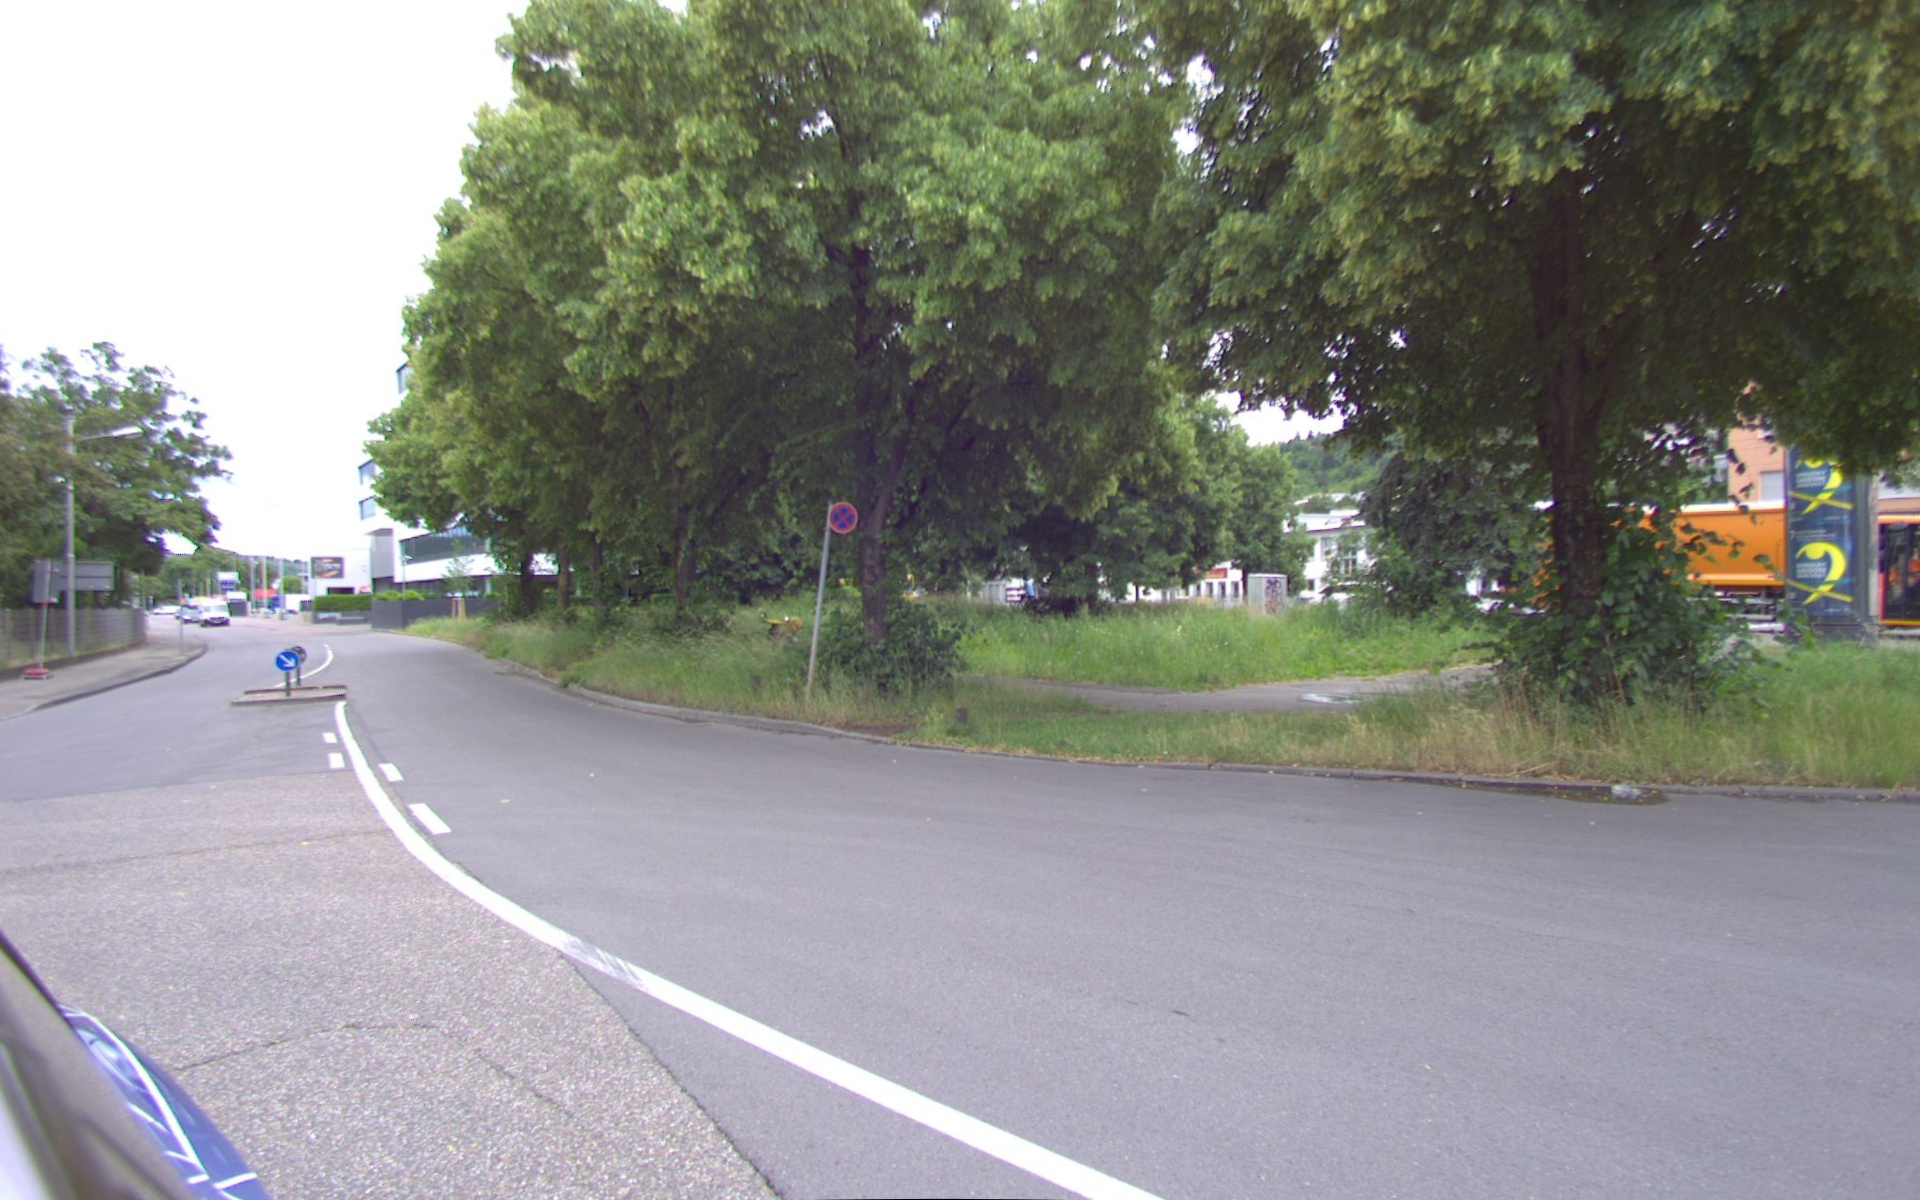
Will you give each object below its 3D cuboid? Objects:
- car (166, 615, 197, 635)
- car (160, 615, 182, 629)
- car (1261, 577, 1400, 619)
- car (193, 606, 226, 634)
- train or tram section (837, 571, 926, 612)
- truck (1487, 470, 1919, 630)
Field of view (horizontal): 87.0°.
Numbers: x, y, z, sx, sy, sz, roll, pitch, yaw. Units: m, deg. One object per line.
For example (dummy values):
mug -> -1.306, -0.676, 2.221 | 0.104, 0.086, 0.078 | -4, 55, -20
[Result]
car -> -79.721, 2.541, 103.699 | 2.351, 1.884, 5.218 | -2, 1, -37
car -> -115.105, 3.187, 147.712 | 2.351, 1.884, 5.218 | -2, 1, -37
car -> 14.400, -0.063, 39.558 | 1.775, 1.519, 4.908 | -3, 1, -37
car -> -70.315, 1.862, 94.840 | 2.351, 2.477, 6.114 | -2, 1, -37
train or tram section -> -8.167, -0.730, 100.740 | 3.221, 3.693, 19.238 | -1, 0, -22
truck -> 19.858, -1.204, 26.710 | 2.752, 3.553, 10.447 | -1, 2, -36
